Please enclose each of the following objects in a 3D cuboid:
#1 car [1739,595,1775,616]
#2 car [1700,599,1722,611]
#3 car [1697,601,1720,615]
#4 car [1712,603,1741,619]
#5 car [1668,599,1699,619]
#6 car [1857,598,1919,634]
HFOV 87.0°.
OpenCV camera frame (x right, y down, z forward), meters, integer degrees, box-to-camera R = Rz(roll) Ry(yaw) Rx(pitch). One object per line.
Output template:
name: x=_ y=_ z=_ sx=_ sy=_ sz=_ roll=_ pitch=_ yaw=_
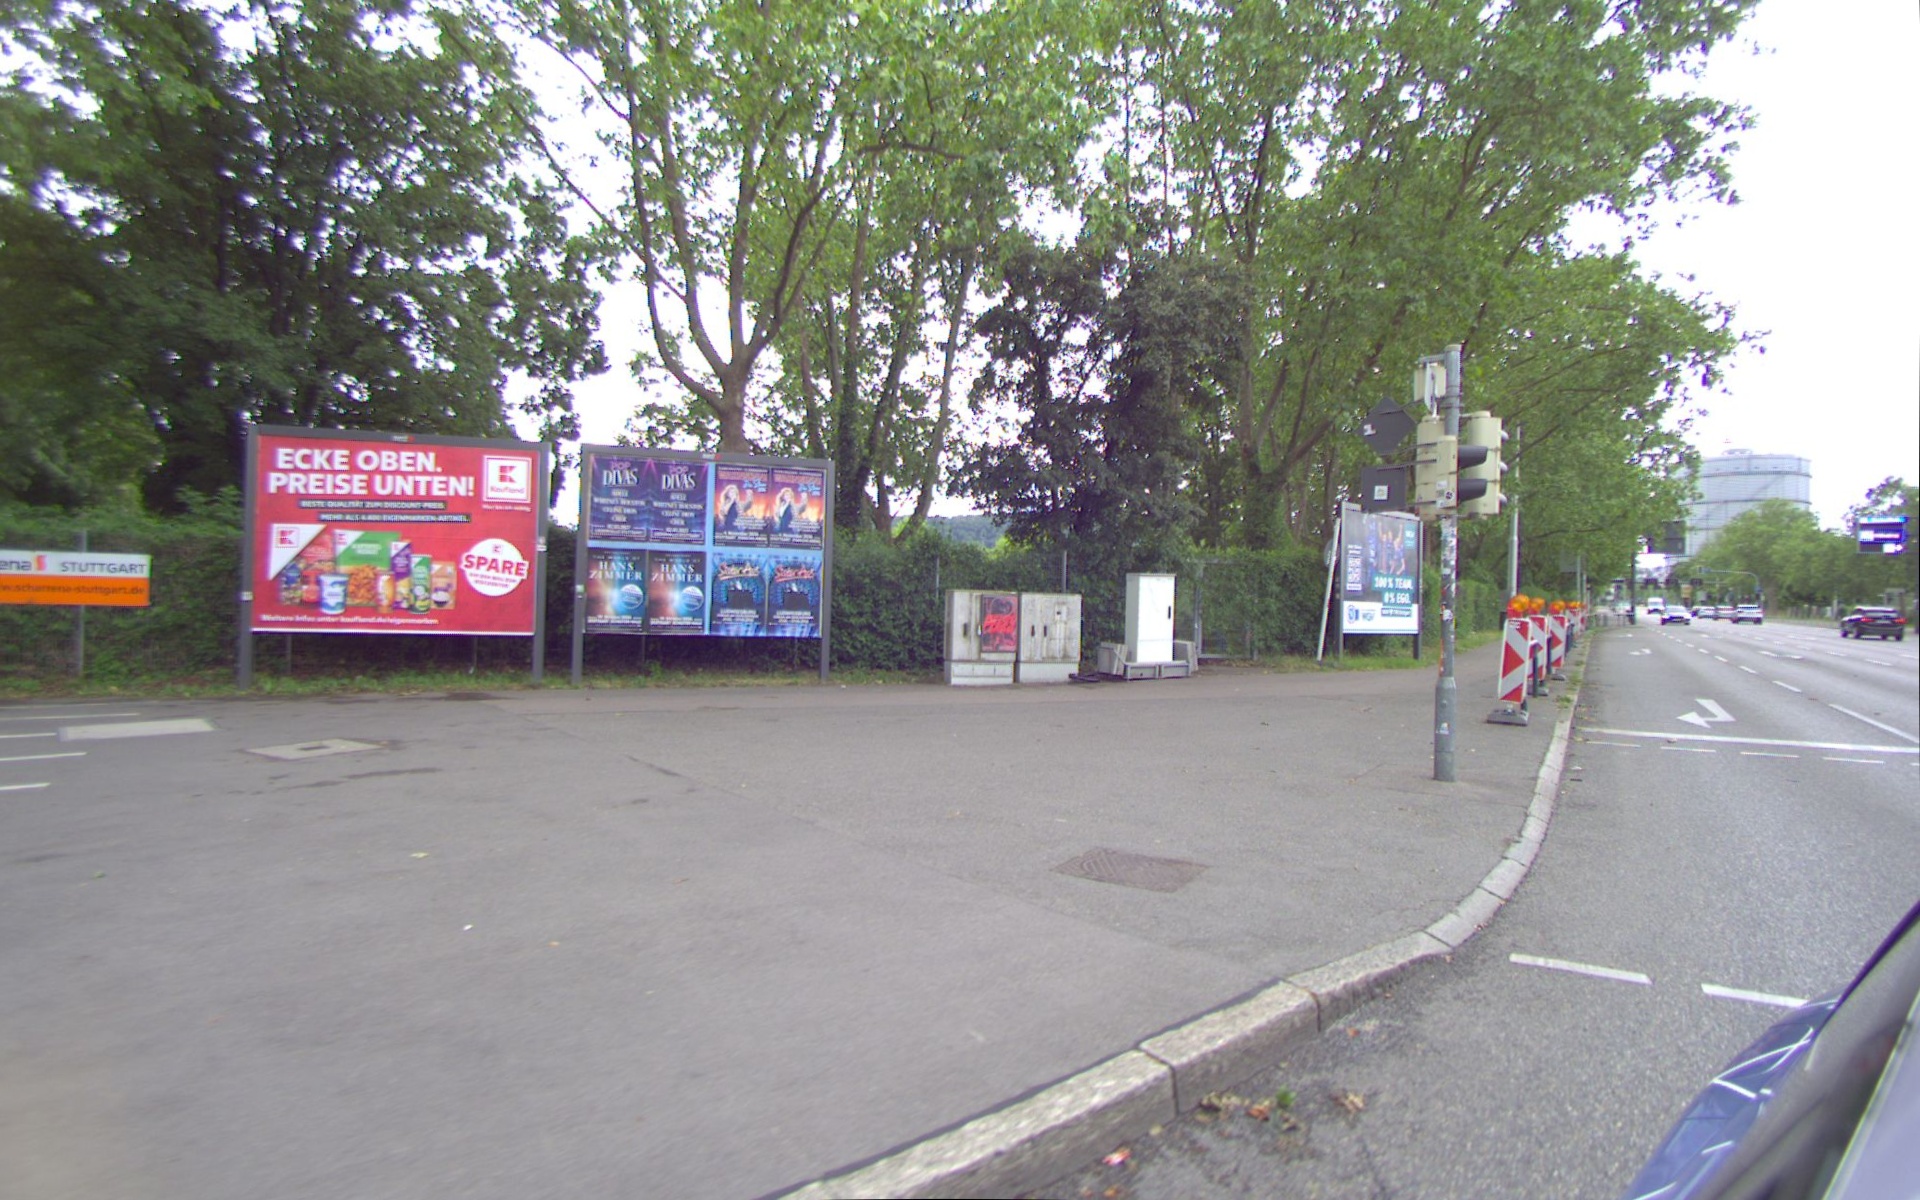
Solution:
car: x=69.908 y=0.447 z=88.786 sx=1.985 sy=1.766 sz=4.541 roll=1 pitch=0 yaw=33
car: x=101.459 y=0.678 z=136.801 sx=1.985 sy=1.549 sz=4.672 roll=2 pitch=1 yaw=32
car: x=89.216 y=0.914 z=120.683 sx=1.986 sy=1.549 sz=4.332 roll=1 pitch=0 yaw=33
car: x=81.082 y=1.155 z=107.119 sx=1.984 sy=1.544 sz=3.955 roll=1 pitch=0 yaw=31
car: x=57.120 y=0.693 z=79.932 sx=1.787 sy=1.529 sz=3.952 roll=1 pitch=0 yaw=33
car: x=45.141 y=0.754 z=49.245 sx=1.764 sy=1.626 sz=4.371 roll=1 pitch=0 yaw=35
